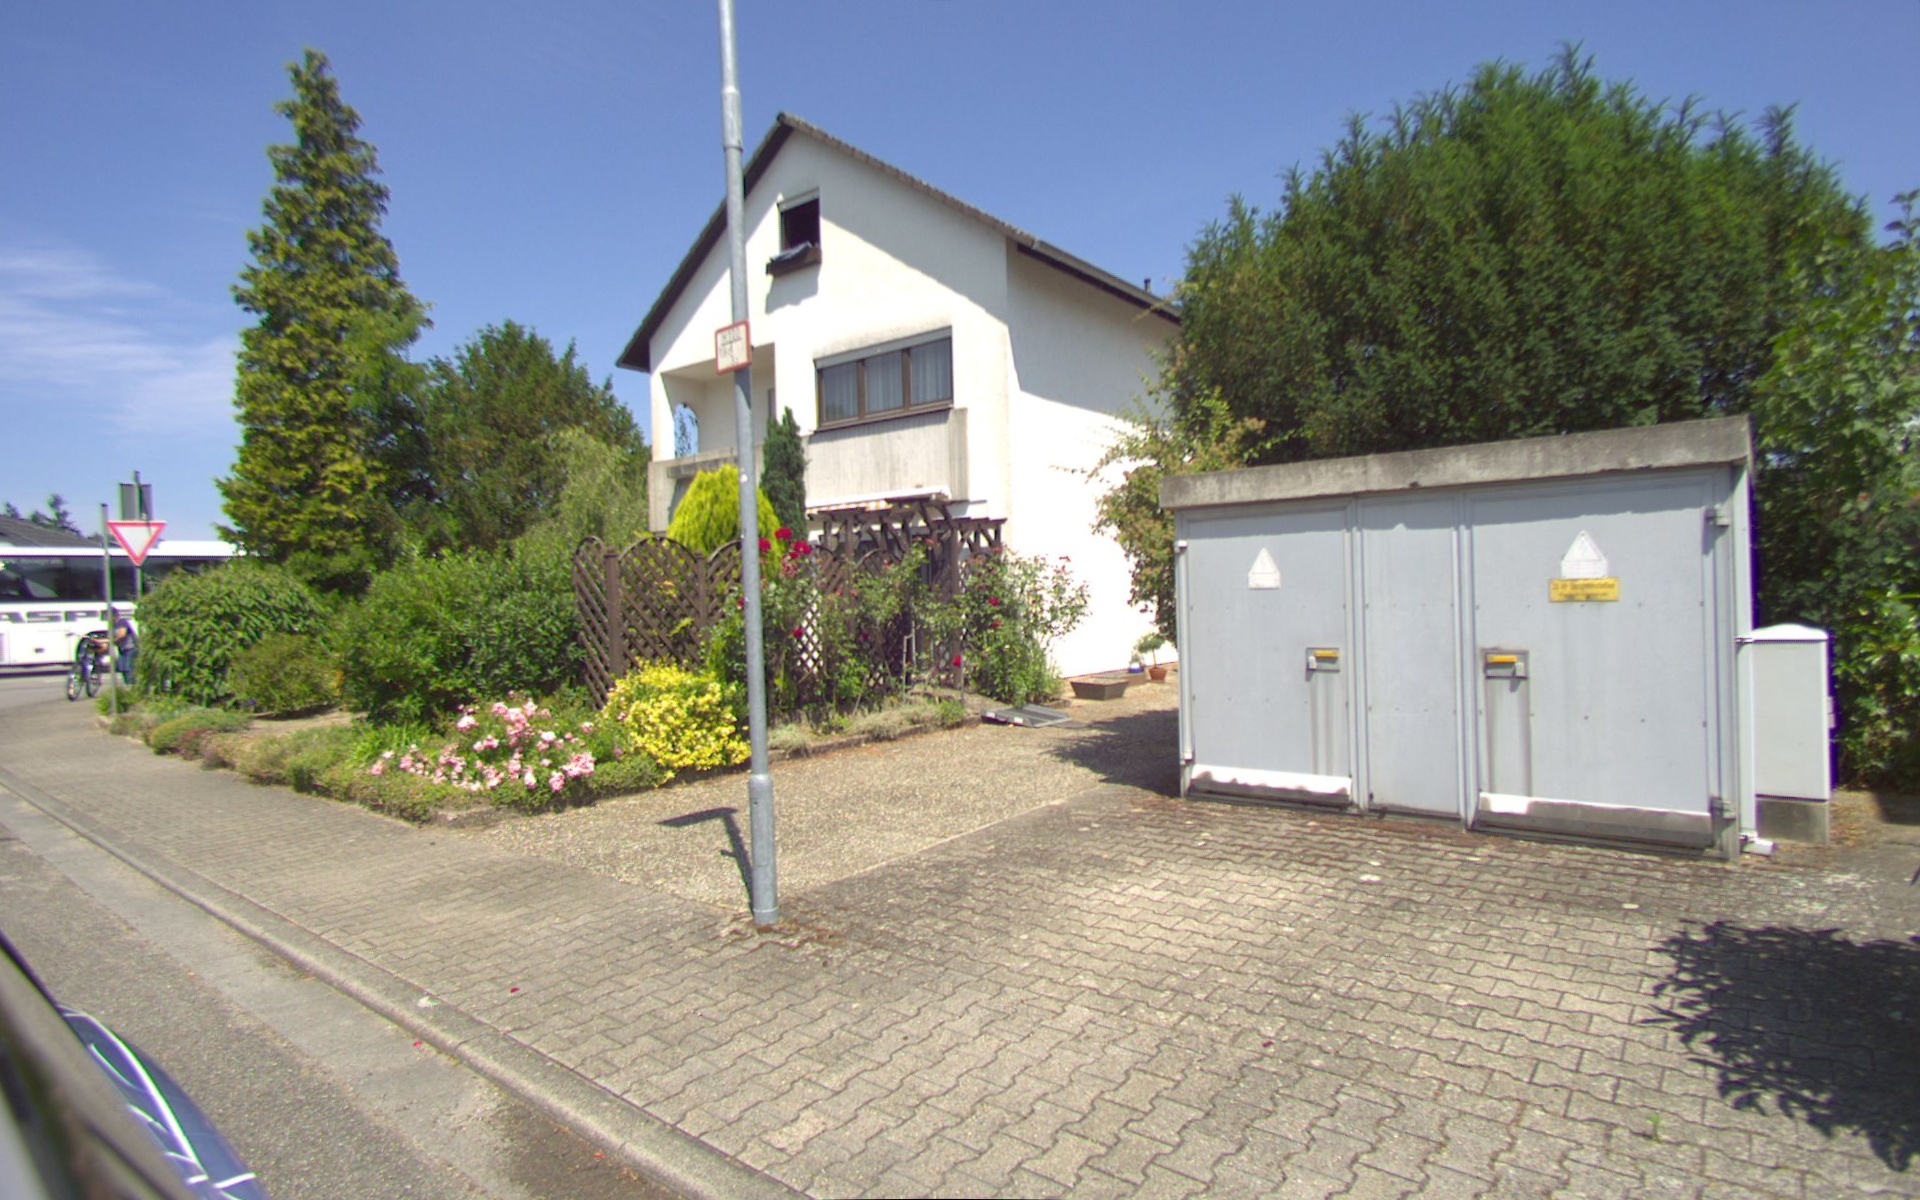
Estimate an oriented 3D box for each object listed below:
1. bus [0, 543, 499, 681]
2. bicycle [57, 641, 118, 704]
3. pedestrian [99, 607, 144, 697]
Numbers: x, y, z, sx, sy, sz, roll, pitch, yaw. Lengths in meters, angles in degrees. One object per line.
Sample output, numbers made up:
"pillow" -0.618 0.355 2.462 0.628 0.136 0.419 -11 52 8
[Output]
"bus" -19.880 0.236 28.011 12.506 3.269 3.198 -1 -1 -38
"bicycle" -14.722 1.194 17.105 0.436 0.971 1.854 -1 -1 -30
"pedestrian" -14.462 0.884 17.466 0.496 1.512 0.614 -1 -1 -31
